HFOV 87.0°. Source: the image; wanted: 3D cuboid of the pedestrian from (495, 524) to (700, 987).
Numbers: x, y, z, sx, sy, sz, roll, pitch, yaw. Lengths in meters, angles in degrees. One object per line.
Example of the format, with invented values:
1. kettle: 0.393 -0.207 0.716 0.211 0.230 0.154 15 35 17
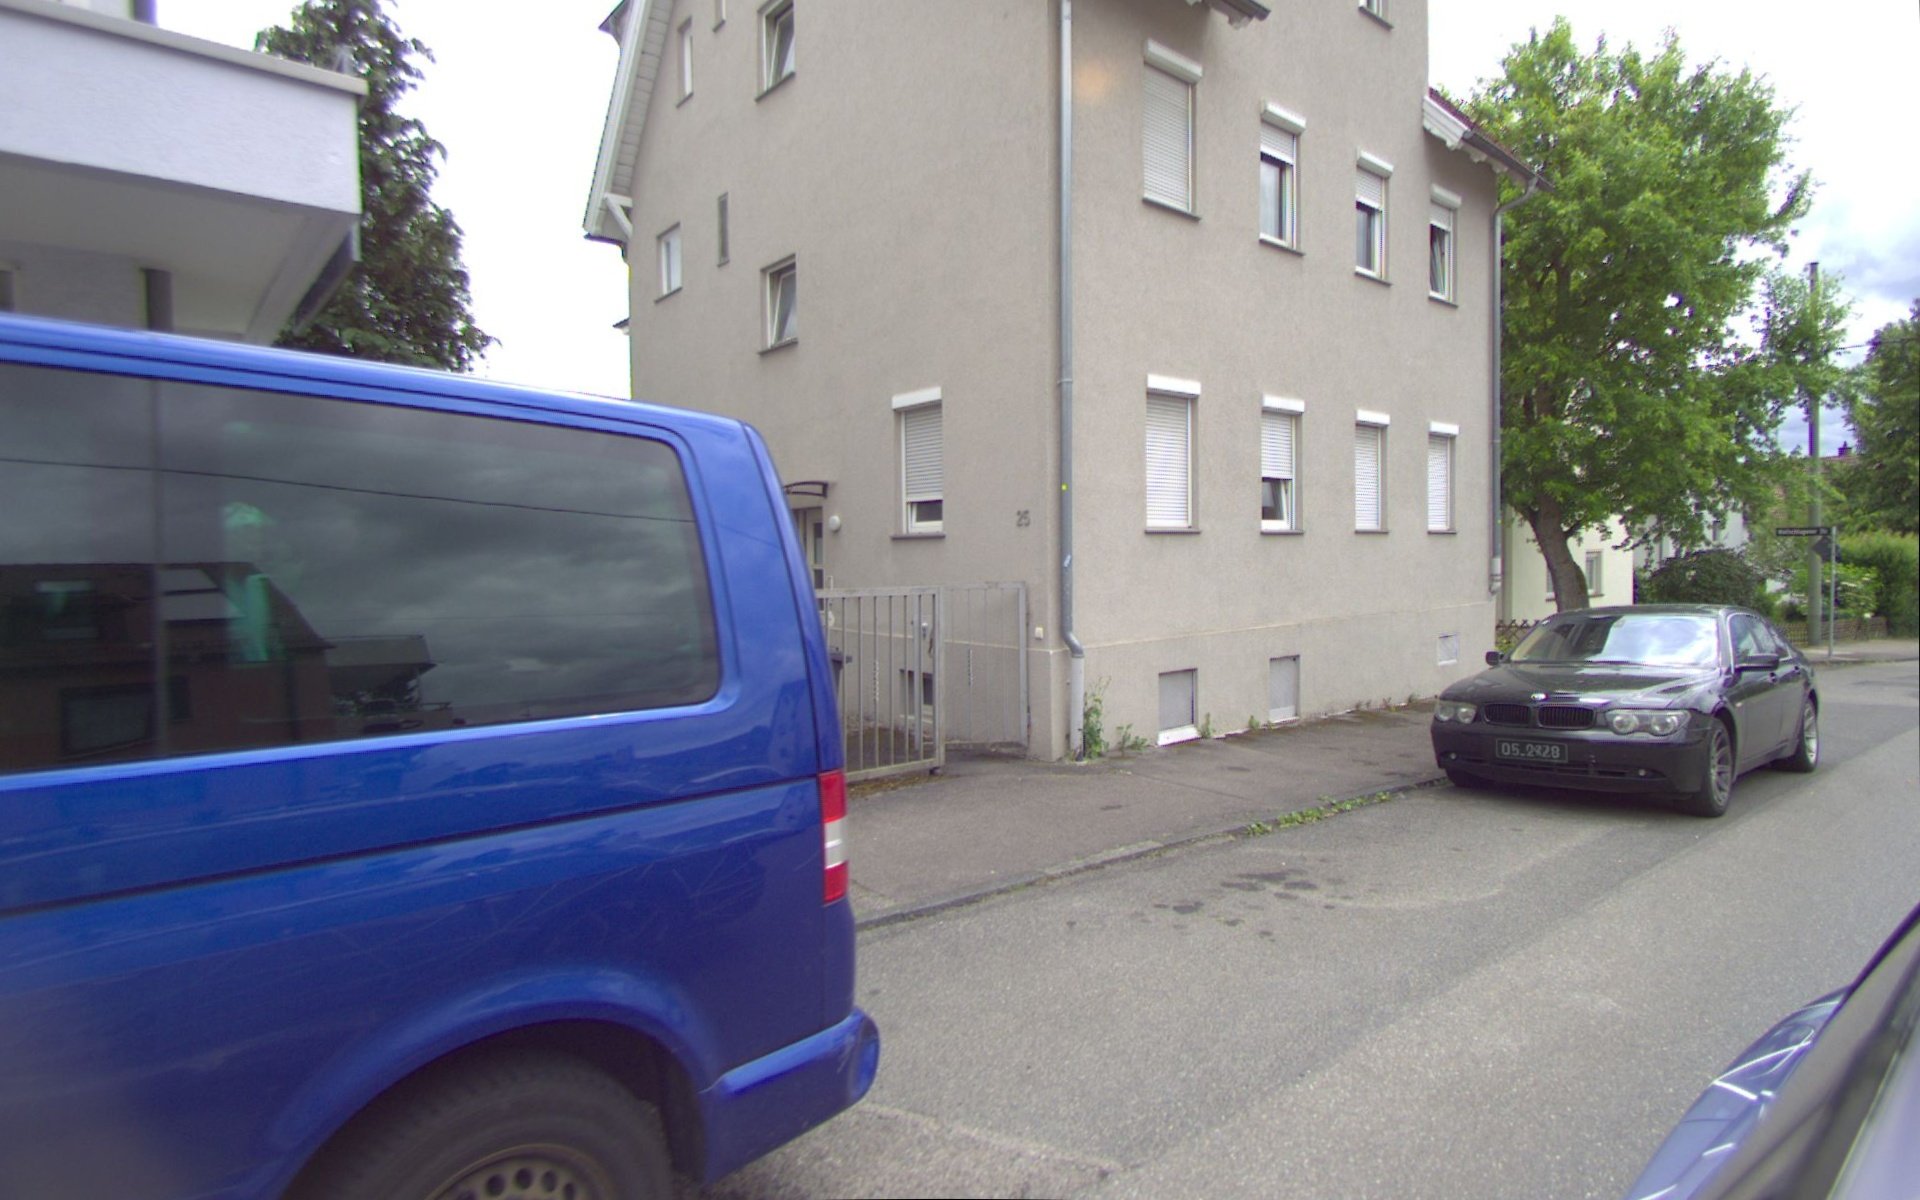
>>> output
1. pedestrian: -1.487 0.581 4.275 0.607 1.746 0.874 1 1 -5

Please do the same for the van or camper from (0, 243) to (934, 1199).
1. van or camper: -2.473 0.522 1.405 4.746 1.950 1.930 0 1 -41

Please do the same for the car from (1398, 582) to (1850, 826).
1. car: 5.890 0.639 8.708 4.805 1.537 1.997 0 0 -41
